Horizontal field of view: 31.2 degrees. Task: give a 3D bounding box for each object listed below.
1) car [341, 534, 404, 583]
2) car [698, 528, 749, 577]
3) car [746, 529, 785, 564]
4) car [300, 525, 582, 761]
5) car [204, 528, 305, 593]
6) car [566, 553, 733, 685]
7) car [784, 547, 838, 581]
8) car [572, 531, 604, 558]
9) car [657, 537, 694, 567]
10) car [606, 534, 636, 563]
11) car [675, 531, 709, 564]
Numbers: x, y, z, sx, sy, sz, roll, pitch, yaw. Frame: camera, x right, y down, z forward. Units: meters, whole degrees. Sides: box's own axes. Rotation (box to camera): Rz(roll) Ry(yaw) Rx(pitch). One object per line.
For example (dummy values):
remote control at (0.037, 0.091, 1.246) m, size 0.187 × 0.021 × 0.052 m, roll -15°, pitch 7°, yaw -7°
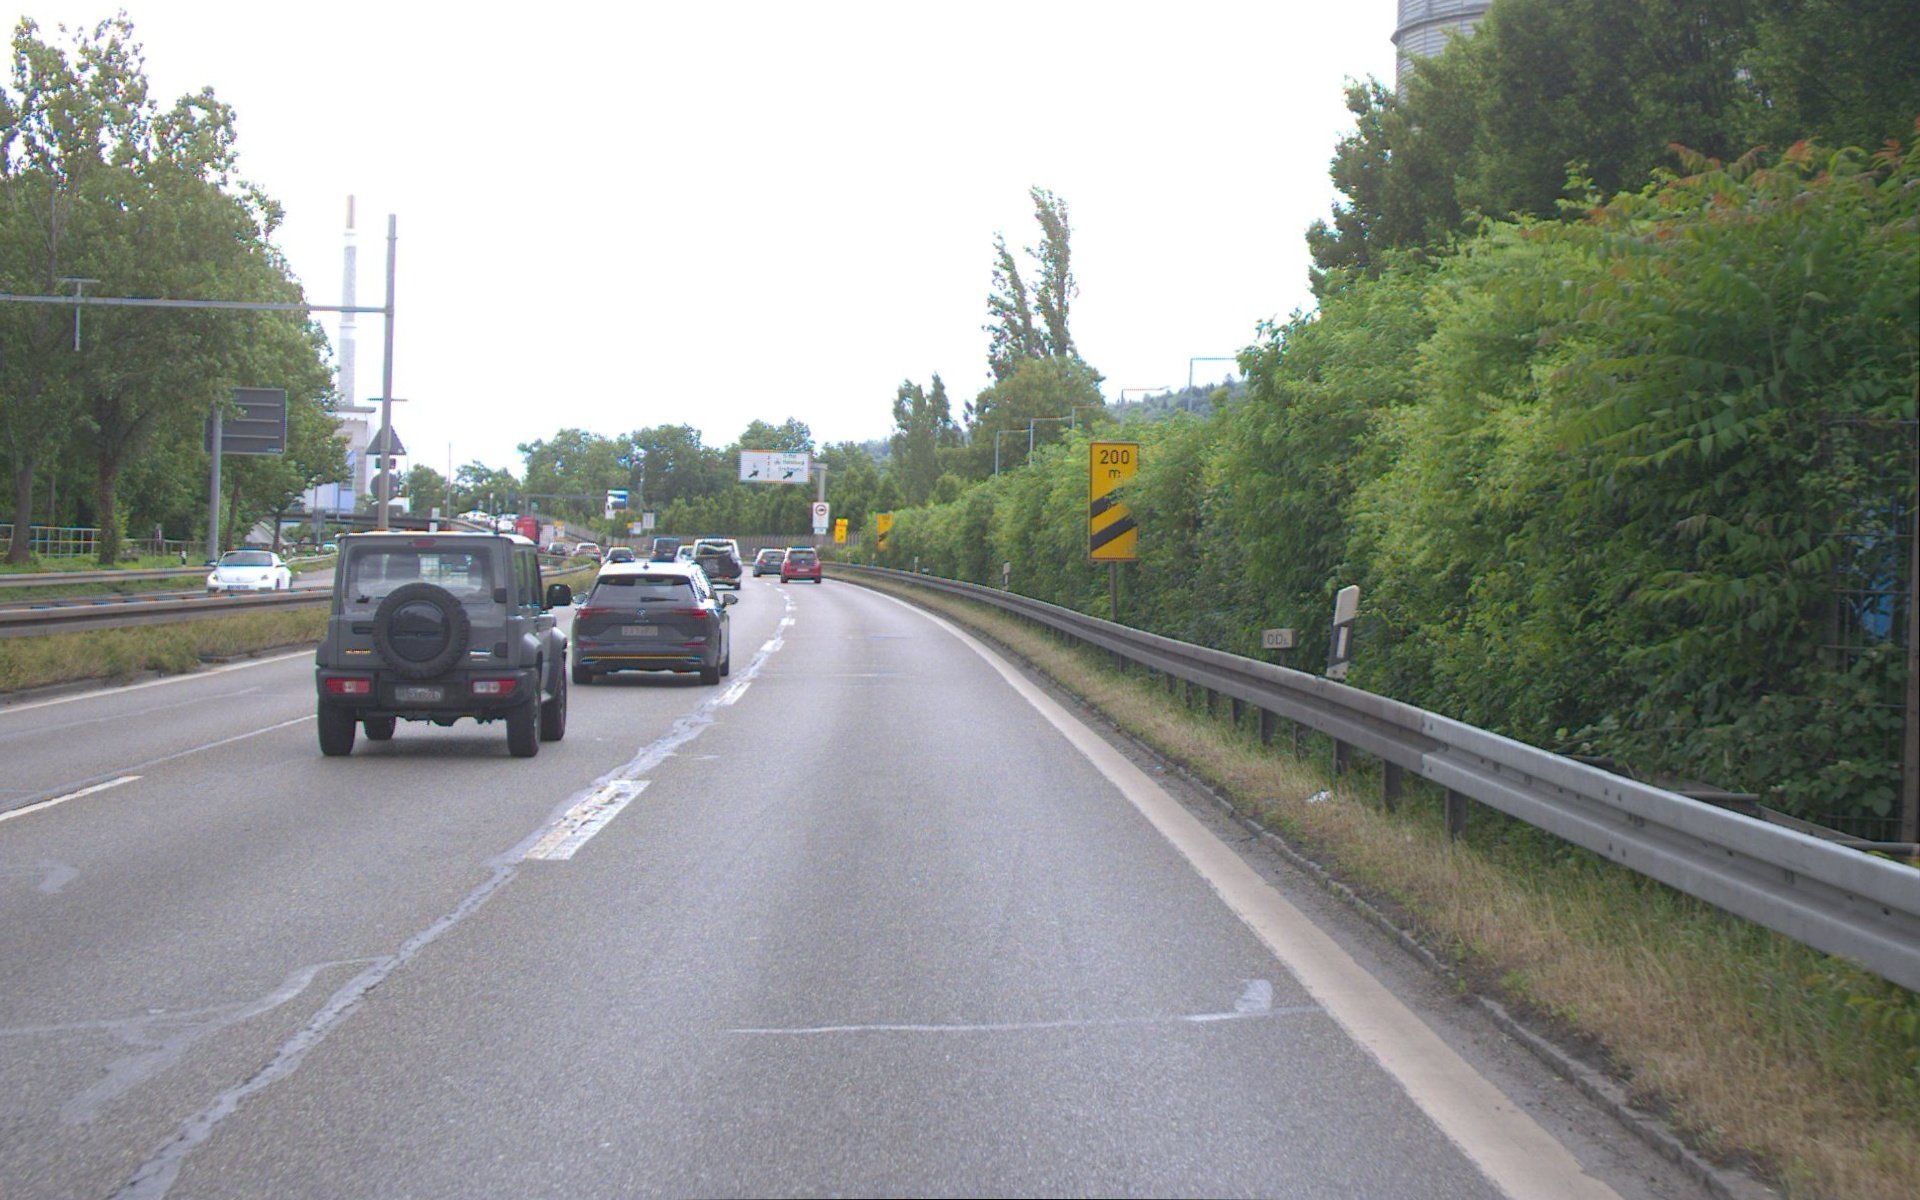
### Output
car at (-21.837, -1.561, 127.892) m, size 1.726 × 1.768 × 3.742 m, roll 1°, pitch 1°, yaw -1°
car at (-8.704, -1.757, 126.813) m, size 1.697 × 1.736 × 4.000 m, roll 1°, pitch 1°, yaw -2°
car at (-9.864, -2.720, 173.884) m, size 1.697 × 1.736 × 4.394 m, roll 1°, pitch 1°, yaw -7°
car at (-3.979, 0.267, 26.902) m, size 1.697 × 1.680 × 4.001 m, roll 1°, pitch 1°, yaw -2°
car at (-18.850, -1.074, 91.989) m, size 1.866 × 1.669 × 4.719 m, roll 1°, pitch 1°, yaw -2°
car at (-3.800, 0.184, 41.817) m, size 1.844 × 1.418 × 4.901 m, roll 2°, pitch 1°, yaw -6°
car at (-6.528, -1.574, 150.003) m, size 1.974 × 1.418 × 4.902 m, roll 1°, pitch 1°, yaw -7°
car at (-27.430, -4.107, 253.499) m, size 2.013 × 1.927 × 4.902 m, roll 1°, pitch 1°, yaw -10°
car at (-18.524, -3.144, 223.774) m, size 2.013 × 1.927 × 4.902 m, roll 1°, pitch 1°, yaw -9°
car at (-20.921, -3.162, 211.877) m, size 1.697 × 1.736 × 4.394 m, roll 0°, pitch 1°, yaw -7°
car at (-16.055, -3.125, 205.798) m, size 2.013 × 1.927 × 4.901 m, roll 1°, pitch 1°, yaw -5°
